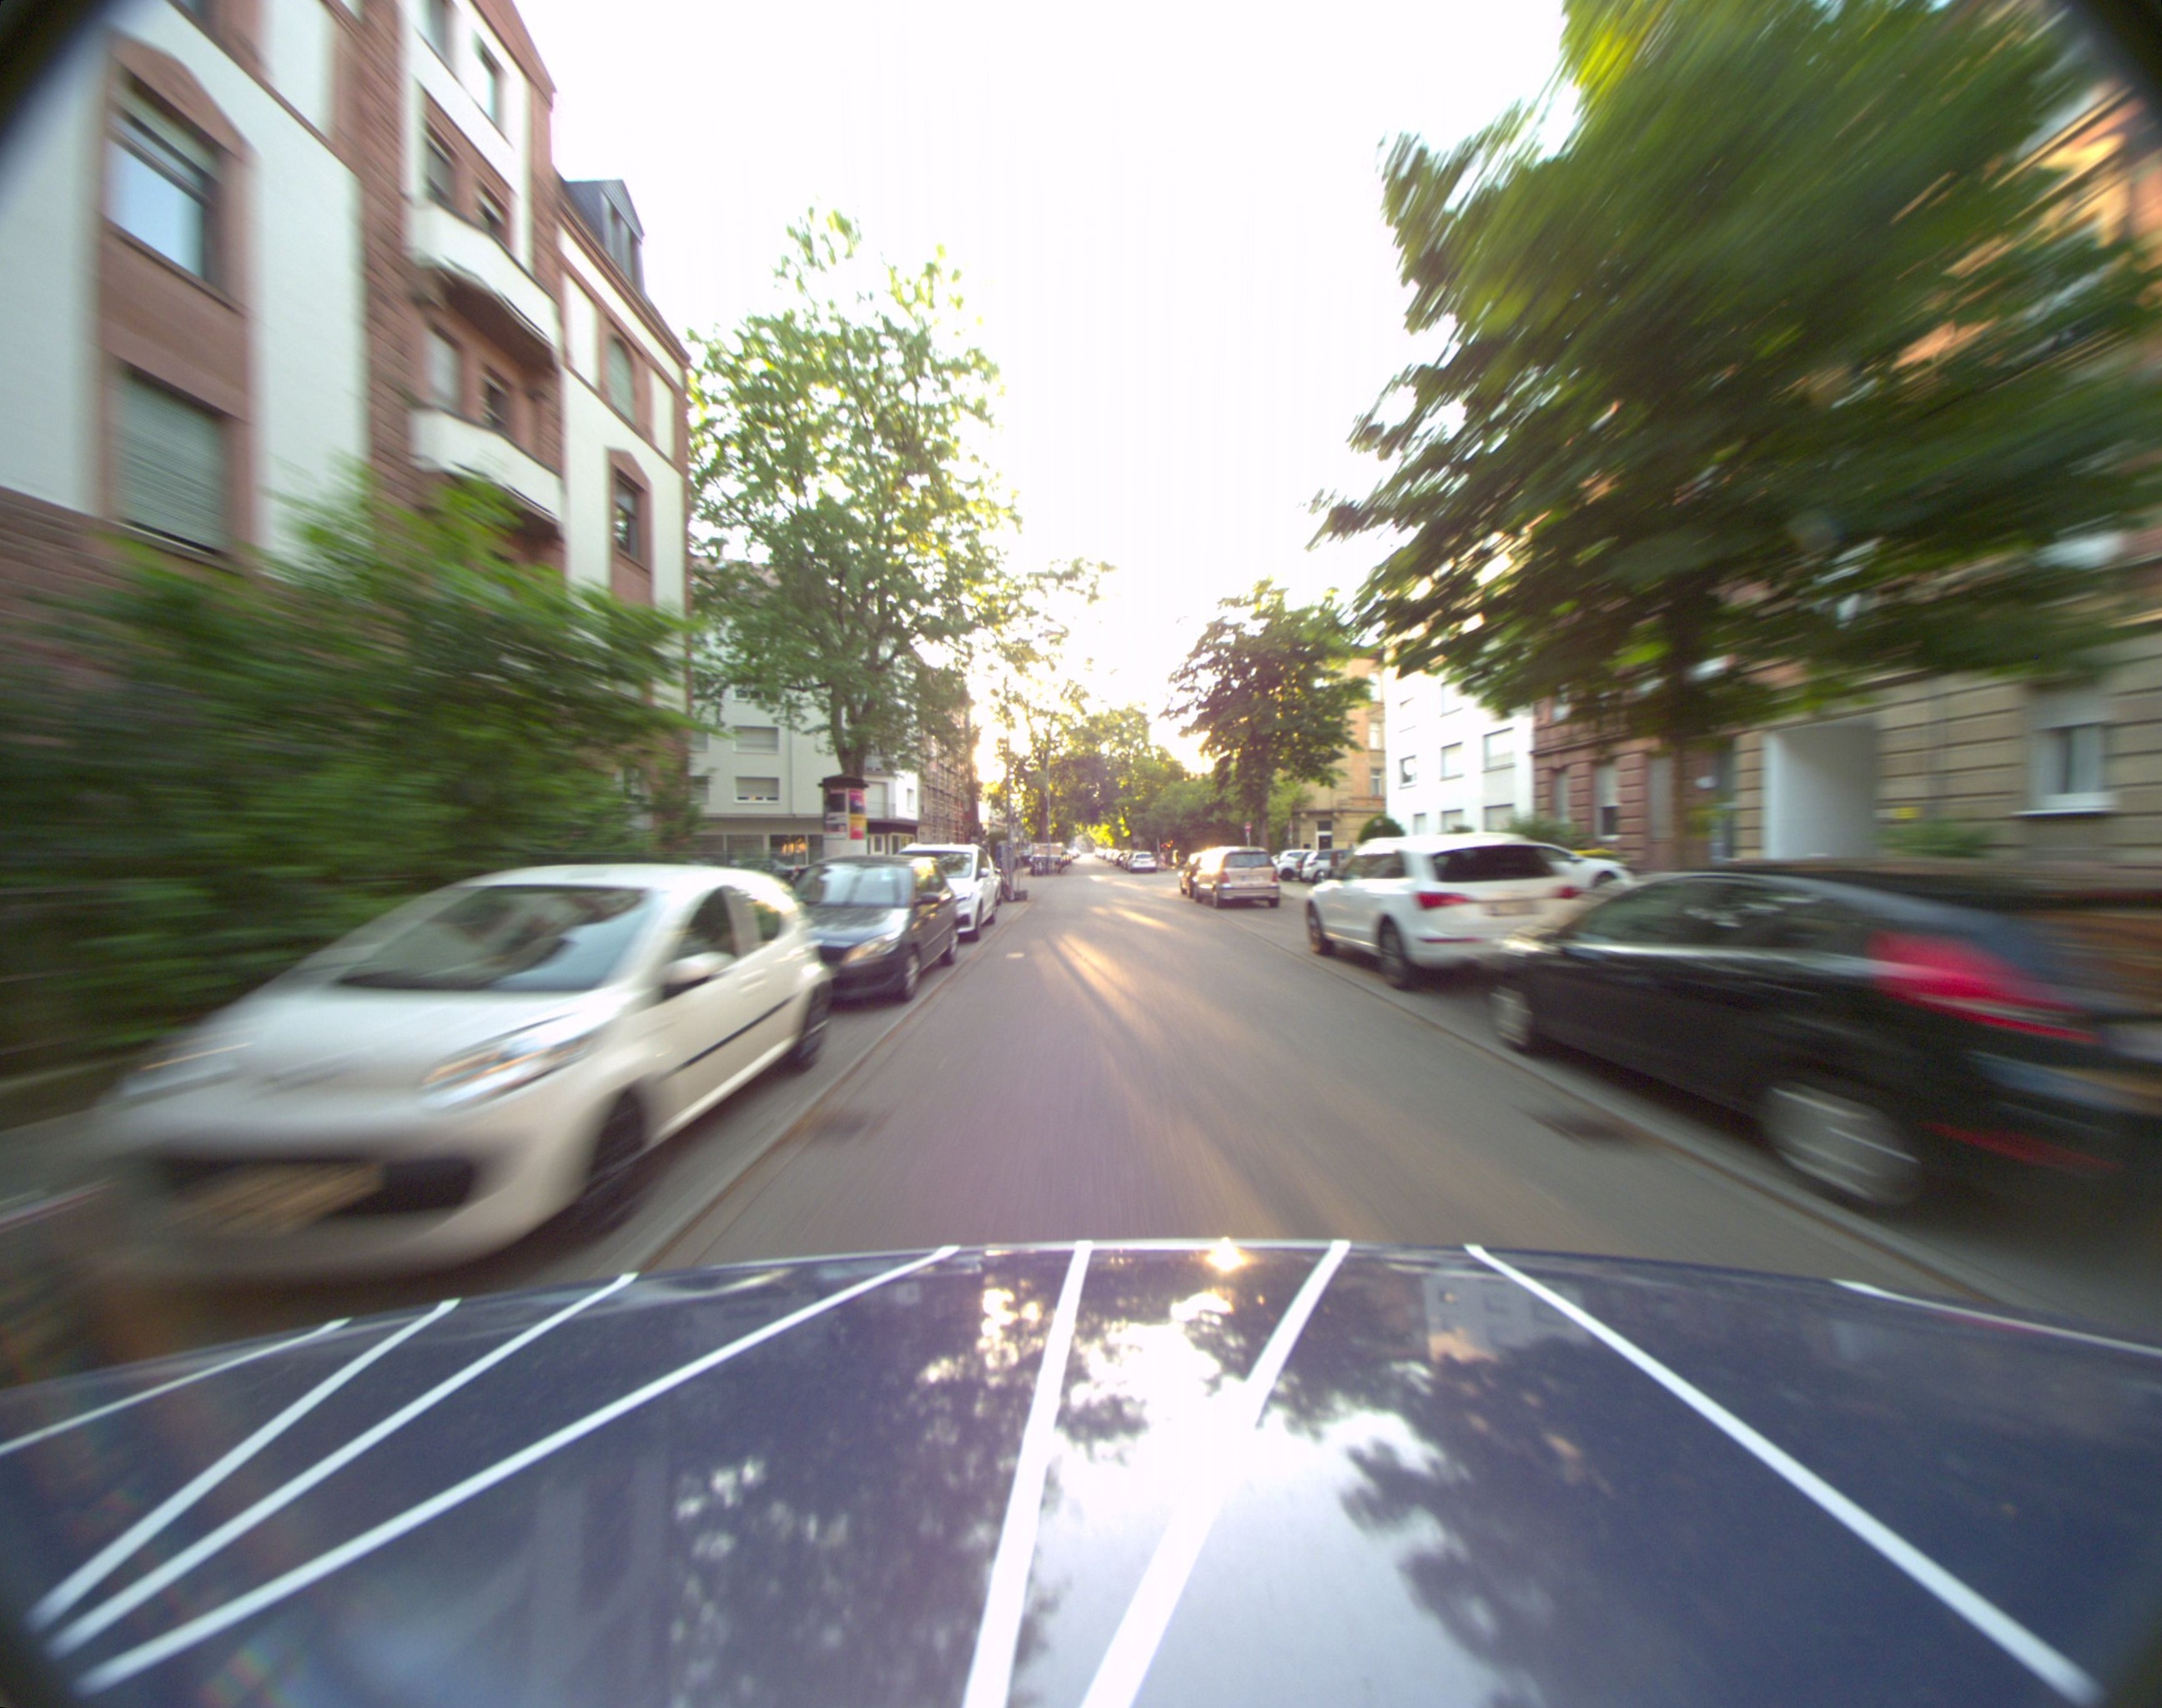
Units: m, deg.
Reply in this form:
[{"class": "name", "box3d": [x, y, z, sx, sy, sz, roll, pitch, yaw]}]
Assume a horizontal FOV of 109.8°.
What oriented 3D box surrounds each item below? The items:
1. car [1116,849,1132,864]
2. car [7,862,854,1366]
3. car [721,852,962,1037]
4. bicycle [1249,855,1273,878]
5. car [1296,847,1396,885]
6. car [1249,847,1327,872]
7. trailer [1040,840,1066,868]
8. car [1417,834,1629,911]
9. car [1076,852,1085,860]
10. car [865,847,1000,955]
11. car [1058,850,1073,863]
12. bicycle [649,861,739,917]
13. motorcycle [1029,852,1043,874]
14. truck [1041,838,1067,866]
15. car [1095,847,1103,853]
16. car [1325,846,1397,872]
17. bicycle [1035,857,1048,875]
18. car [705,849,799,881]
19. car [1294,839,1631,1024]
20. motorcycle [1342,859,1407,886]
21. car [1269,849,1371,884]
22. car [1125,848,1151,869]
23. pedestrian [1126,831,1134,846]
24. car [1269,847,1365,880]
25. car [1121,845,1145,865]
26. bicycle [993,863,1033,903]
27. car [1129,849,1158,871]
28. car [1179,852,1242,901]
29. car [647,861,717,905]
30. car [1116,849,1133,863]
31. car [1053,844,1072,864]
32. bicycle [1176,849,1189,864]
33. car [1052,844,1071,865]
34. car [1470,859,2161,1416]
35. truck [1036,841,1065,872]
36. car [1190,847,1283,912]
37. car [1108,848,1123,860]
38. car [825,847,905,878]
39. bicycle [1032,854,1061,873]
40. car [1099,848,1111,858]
[{"class": "car", "box3d": [4.753, 0.268, 83.822, 1.555, 1.477, 3.695, -3, 0, 4]}, {"class": "car", "box3d": [-2.758, 0.912, 4.458, 1.691, 1.597, 3.748, -1, 1, 0]}, {"class": "car", "box3d": [-2.498, 0.817, 9.025, 1.691, 1.597, 4.207, -1, 1, -3]}, {"class": "bicycle", "box3d": [9.515, 0.638, 40.199, 0.243, 1.174, 1.676, -1, 1, -26]}, {"class": "car", "box3d": [10.707, 0.483, 30.911, 3.569, 1.439, 1.819, -1, 0, 9]}, {"class": "car", "box3d": [13.221, 0.355, 48.616, 4.467, 1.543, 1.708, 0, 0, -9]}, {"class": "trailer", "box3d": [-2.333, -0.007, 64.329, 1.959, 2.282, 4.644, 2, 0, 0]}, {"class": "car", "box3d": [10.656, 0.431, 18.521, 4.103, 1.519, 1.709, -4, 1, -1]}, {"class": "car", "box3d": [-0.061, 0.325, 151.010, 1.617, 1.433, 3.753, -3, 0, -3]}, {"class": "car", "box3d": [-2.616, 0.730, 14.437, 1.803, 1.701, 4.599, 0, 1, -2]}, {"class": "car", "box3d": [-1.922, 0.296, 93.688, 1.669, 1.491, 3.693, 2, 0, -3]}, {"class": "bicycle", "box3d": [-7.307, 0.655, 14.383, 1.513, 1.028, 0.330, 1, 0, -1]}, {"class": "motorcycle", "box3d": [-2.918, 0.589, 49.605, 0.503, 1.349, 2.063, 2, 1, 7]}, {"class": "truck", "box3d": [-2.289, -0.158, 65.058, 1.959, 2.233, 4.644, 2, 0, 0]}, {"class": "car", "box3d": [4.309, -0.999, 181.397, 1.617, 1.433, 4.104, -2, 0, -2]}, {"class": "car", "box3d": [18.133, 0.314, 49.265, 4.107, 1.543, 1.707, 0, 3, -11]}, {"class": "bicycle", "box3d": [-2.522, 0.783, 49.002, 0.406, 1.103, 2.156, 2, 1, 8]}, {"class": "car", "box3d": [-16.466, 0.531, 38.197, 4.239, 1.421, 1.653, -2, 2, -22]}, {"class": "car", "box3d": [4.196, 0.718, 9.327, 1.926, 1.707, 4.427, -1, 0, 0]}, {"class": "motorcycle", "box3d": [11.234, 0.712, 29.107, 2.239, 0.952, 0.588, -2, 1, 10]}, {"class": "car", "box3d": [10.468, 0.553, 33.593, 4.099, 1.439, 1.819, -1, 0, 11]}, {"class": "car", "box3d": [4.574, 0.342, 61.332, 1.694, 1.494, 4.401, -3, 1, 0]}, {"class": "pedestrian", "box3d": [6.688, -2.106, 103.913, 0.869, 2.002, 1.007, 0, 1, -20]}, {"class": "car", "box3d": [11.085, 0.455, 35.949, 4.100, 1.439, 1.710, -1, 0, 9]}, {"class": "car", "box3d": [4.521, 0.073, 66.177, 1.694, 1.554, 4.402, -3, 0, 0]}, {"class": "bicycle", "box3d": [-2.106, 0.900, 23.834, 0.444, 1.166, 1.639, 0, 1, 26]}, {"class": "car", "box3d": [4.507, 0.416, 55.074, 1.694, 1.493, 4.738, -3, 0, 1]}, {"class": "car", "box3d": [4.257, 0.694, 25.418, 1.620, 1.462, 3.962, -1, 0, 3]}, {"class": "car", "box3d": [-15.160, 1.046, 29.038, 1.682, 1.469, 3.428, -2, 1, -16]}, {"class": "car", "box3d": [4.553, 0.208, 80.582, 1.555, 1.477, 3.693, 0, 0, -1]}, {"class": "car", "box3d": [-2.020, 0.018, 84.844, 1.959, 2.047, 4.830, 2, 0, -1]}, {"class": "bicycle", "box3d": [8.730, 0.213, 65.371, 0.606, 1.277, 2.489, 0, 1, 21]}, {"class": "car", "box3d": [-1.927, 0.037, 76.064, 1.844, 1.931, 4.613, 2, 0, -1]}, {"class": "car", "box3d": [3.945, 0.871, 4.164, 1.720, 1.557, 3.780, -1, 1, 0]}, {"class": "truck", "box3d": [-2.250, 0.126, 57.244, 1.982, 2.232, 6.774, 0, 1, -2]}, {"class": "car", "box3d": [4.143, 0.626, 20.839, 1.600, 1.594, 3.743, -1, 0, -3]}, {"class": "car", "box3d": [4.713, -0.006, 104.219, 1.668, 1.484, 3.710, -3, 0, 0]}, {"class": "car", "box3d": [-11.448, 0.425, 40.298, 3.901, 1.499, 1.623, -2, 0, -20]}, {"class": "bicycle", "box3d": [-2.331, 0.635, 51.686, 1.908, 1.251, 0.406, 2, 1, -5]}, {"class": "car", "box3d": [4.249, -0.135, 134.500, 1.871, 1.678, 4.591, -2, 0, 0]}]
